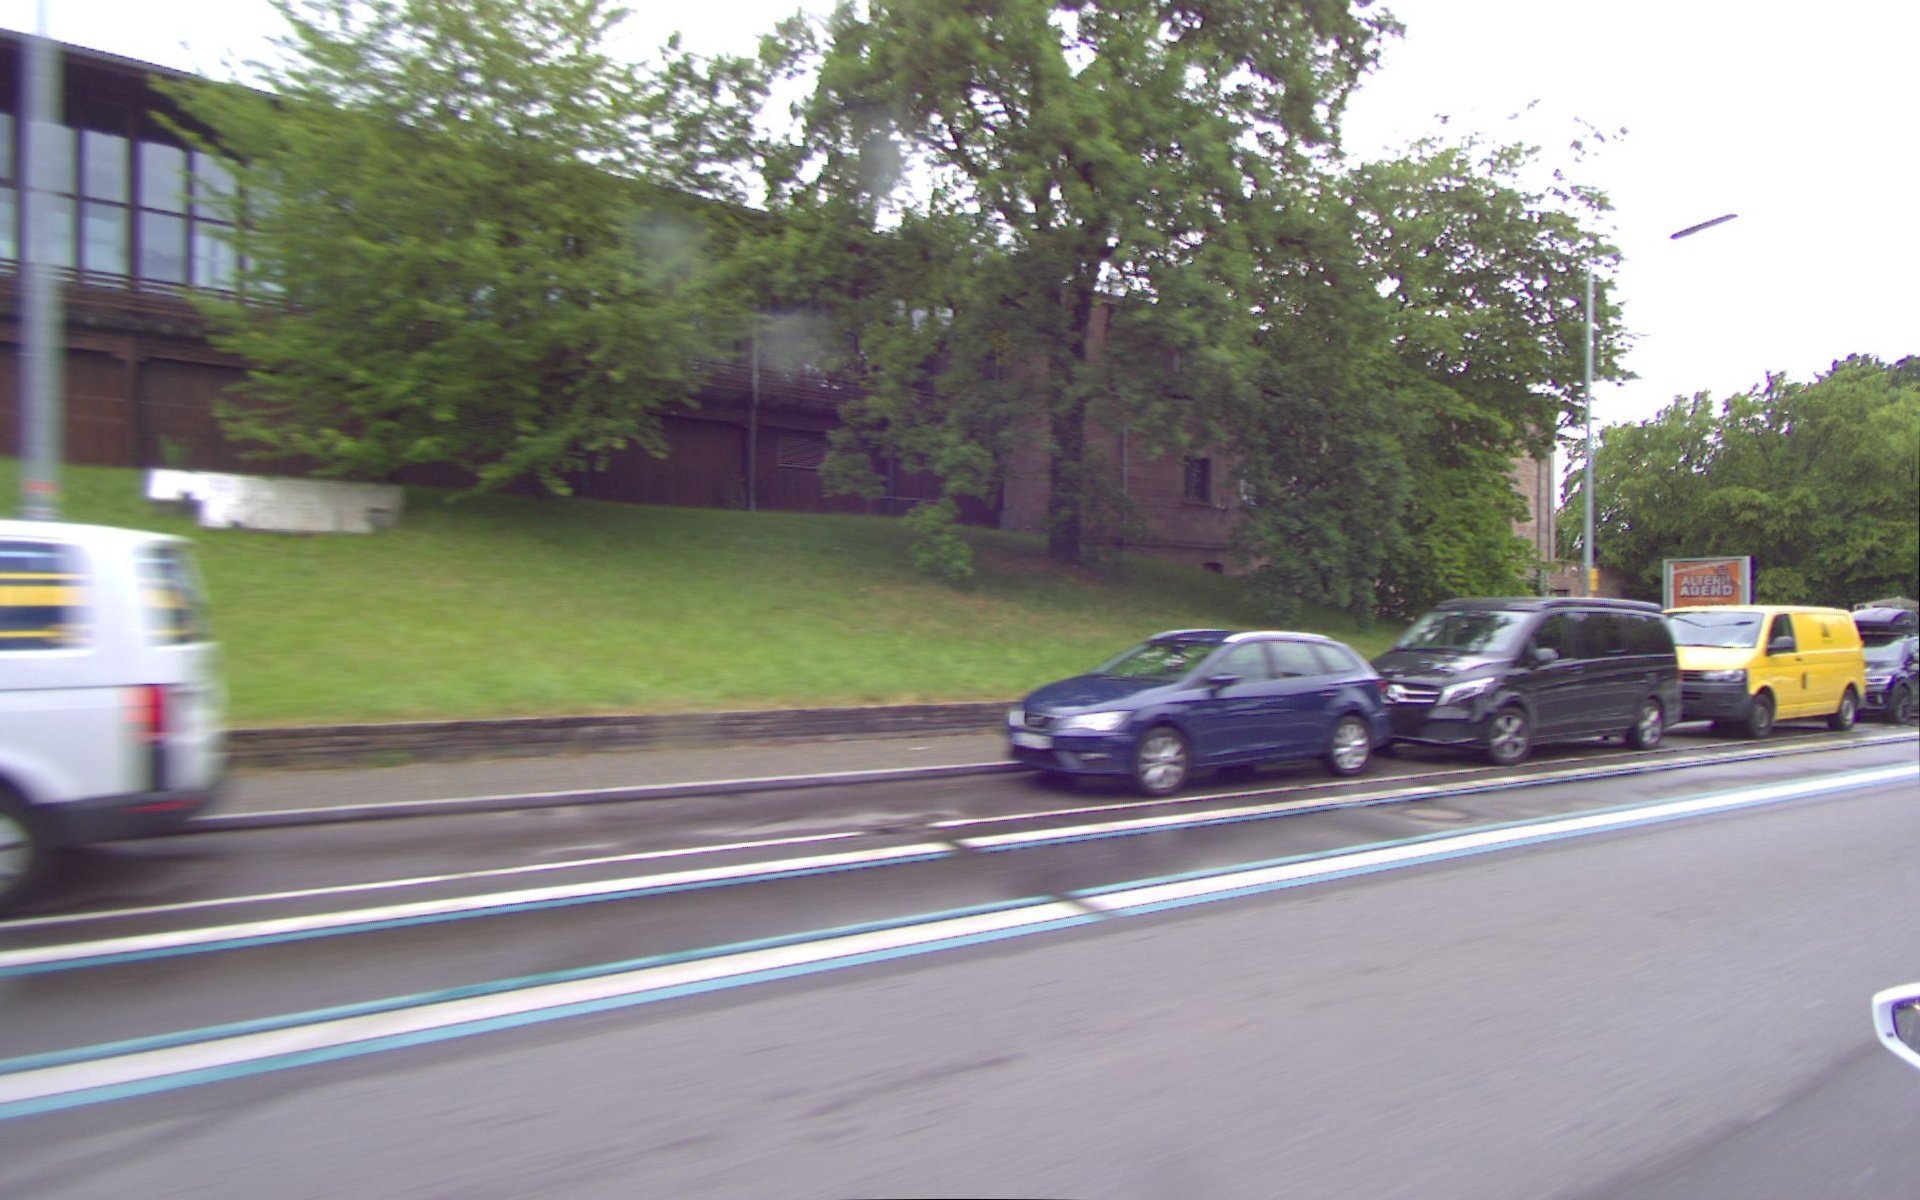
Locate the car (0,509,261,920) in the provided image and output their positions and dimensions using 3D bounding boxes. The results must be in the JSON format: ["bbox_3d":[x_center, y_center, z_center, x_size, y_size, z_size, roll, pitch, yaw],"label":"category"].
[{"bbox_3d":[-6.387,0.537,4.937,4.682,2.003,1.862,1,-1,-32],"label":"car"}]

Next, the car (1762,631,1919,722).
[{"bbox_3d":[16.923,1.358,18.697,4.100,1.524,1.702,1,-1,-29],"label":"car"}]

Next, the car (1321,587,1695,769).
[{"bbox_3d":[7.122,0.908,12.894,5.144,1.945,1.868,1,-2,-31],"label":"car"}]

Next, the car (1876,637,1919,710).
[{"bbox_3d":[21.120,1.532,21.168,3.991,1.465,1.600,1,-1,-30],"label":"car"}]

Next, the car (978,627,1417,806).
[{"bbox_3d":[2.540,1.039,10.293,4.559,1.478,1.675,1,-2,-32],"label":"car"}]

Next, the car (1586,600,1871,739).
[{"bbox_3d":[12.322,1.030,16.047,4.788,1.938,1.984,1,-1,-30],"label":"car"}]
